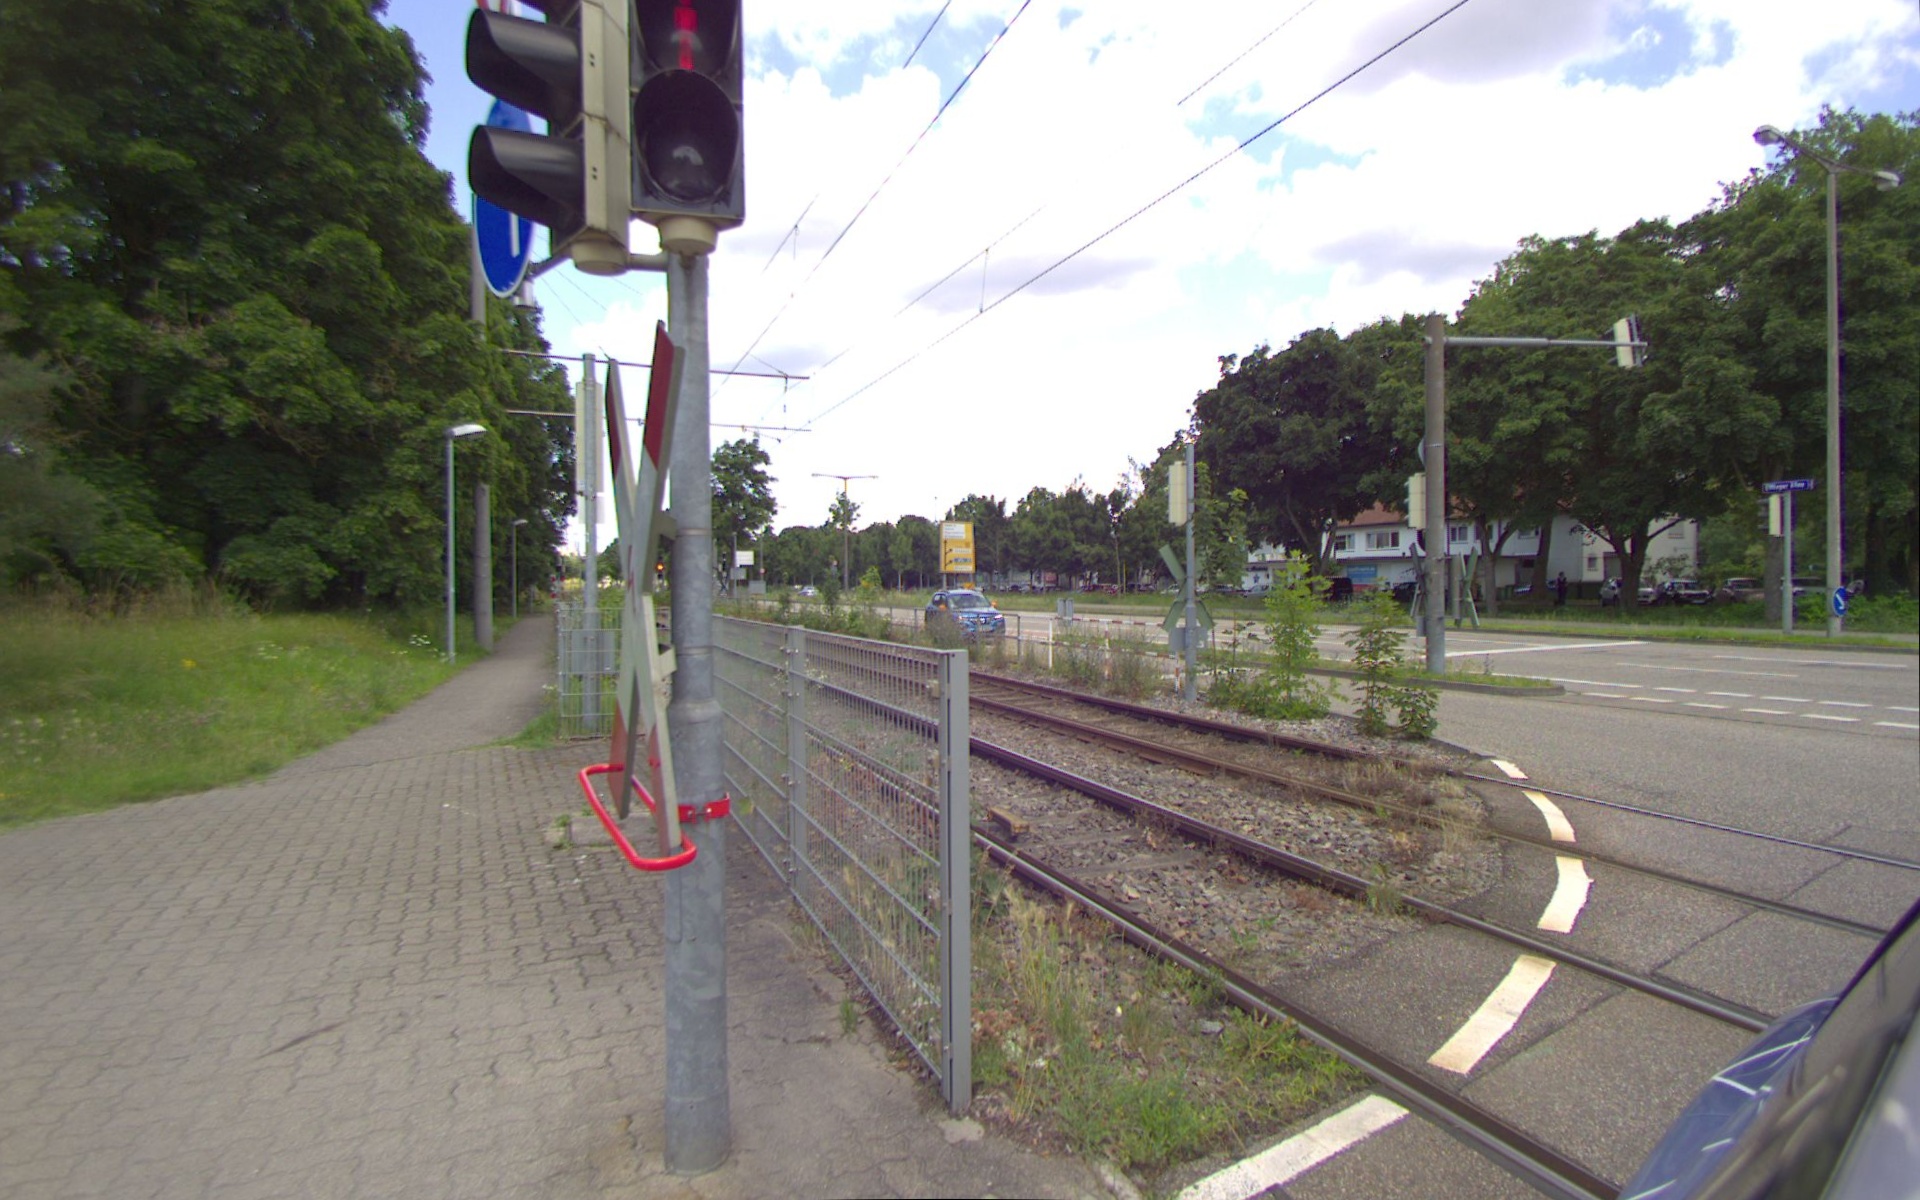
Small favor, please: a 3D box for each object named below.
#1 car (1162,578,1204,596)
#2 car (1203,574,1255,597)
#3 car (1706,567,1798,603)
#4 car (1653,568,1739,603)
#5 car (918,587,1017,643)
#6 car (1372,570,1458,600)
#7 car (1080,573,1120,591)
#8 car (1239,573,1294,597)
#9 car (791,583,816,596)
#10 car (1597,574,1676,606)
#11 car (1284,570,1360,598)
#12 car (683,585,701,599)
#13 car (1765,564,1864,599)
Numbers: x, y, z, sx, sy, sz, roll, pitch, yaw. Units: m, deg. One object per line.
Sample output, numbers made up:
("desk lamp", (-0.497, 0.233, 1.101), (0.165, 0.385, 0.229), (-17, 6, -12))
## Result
("car", (17.653, -1.039, 80.186), (1.592, 1.348, 3.483), (-1, 1, -21))
("car", (19.940, -1.057, 75.139), (1.727, 1.607, 4.031), (-1, 1, -21))
("car", (37.991, -0.697, 48.662), (1.971, 1.608, 4.004), (0, -1, 14))
("car", (35.641, -0.689, 49.124), (1.971, 1.607, 4.005), (0, 1, 14))
("car", (0.151, 0.384, 28.936), (1.572, 1.482, 3.711), (0, 0, -21))
("car", (26.734, -0.894, 59.599), (1.777, 1.678, 4.367), (-2, 2, -32))
("car", (12.747, -1.632, 92.336), (1.958, 1.607, 4.031), (-1, 1, -21))
("car", (21.554, -1.031, 71.266), (1.882, 1.607, 3.673), (-1, 1, -21))
("car", (-17.835, -1.152, 115.050), (1.768, 1.450, 4.504), (-1, 1, -24))
("car", (33.110, -0.513, 49.683), (1.971, 1.502, 4.005), (0, 1, 14))
("car", (23.470, -1.012, 65.824), (1.849, 1.732, 4.939), (-1, 1, -21))
("car", (-33.098, -1.009, 125.001), (1.691, 1.634, 4.008), (-1, 1, -21))
("car", (40.342, -0.848, 47.902), (1.971, 1.564, 4.005), (0, 1, 14))
